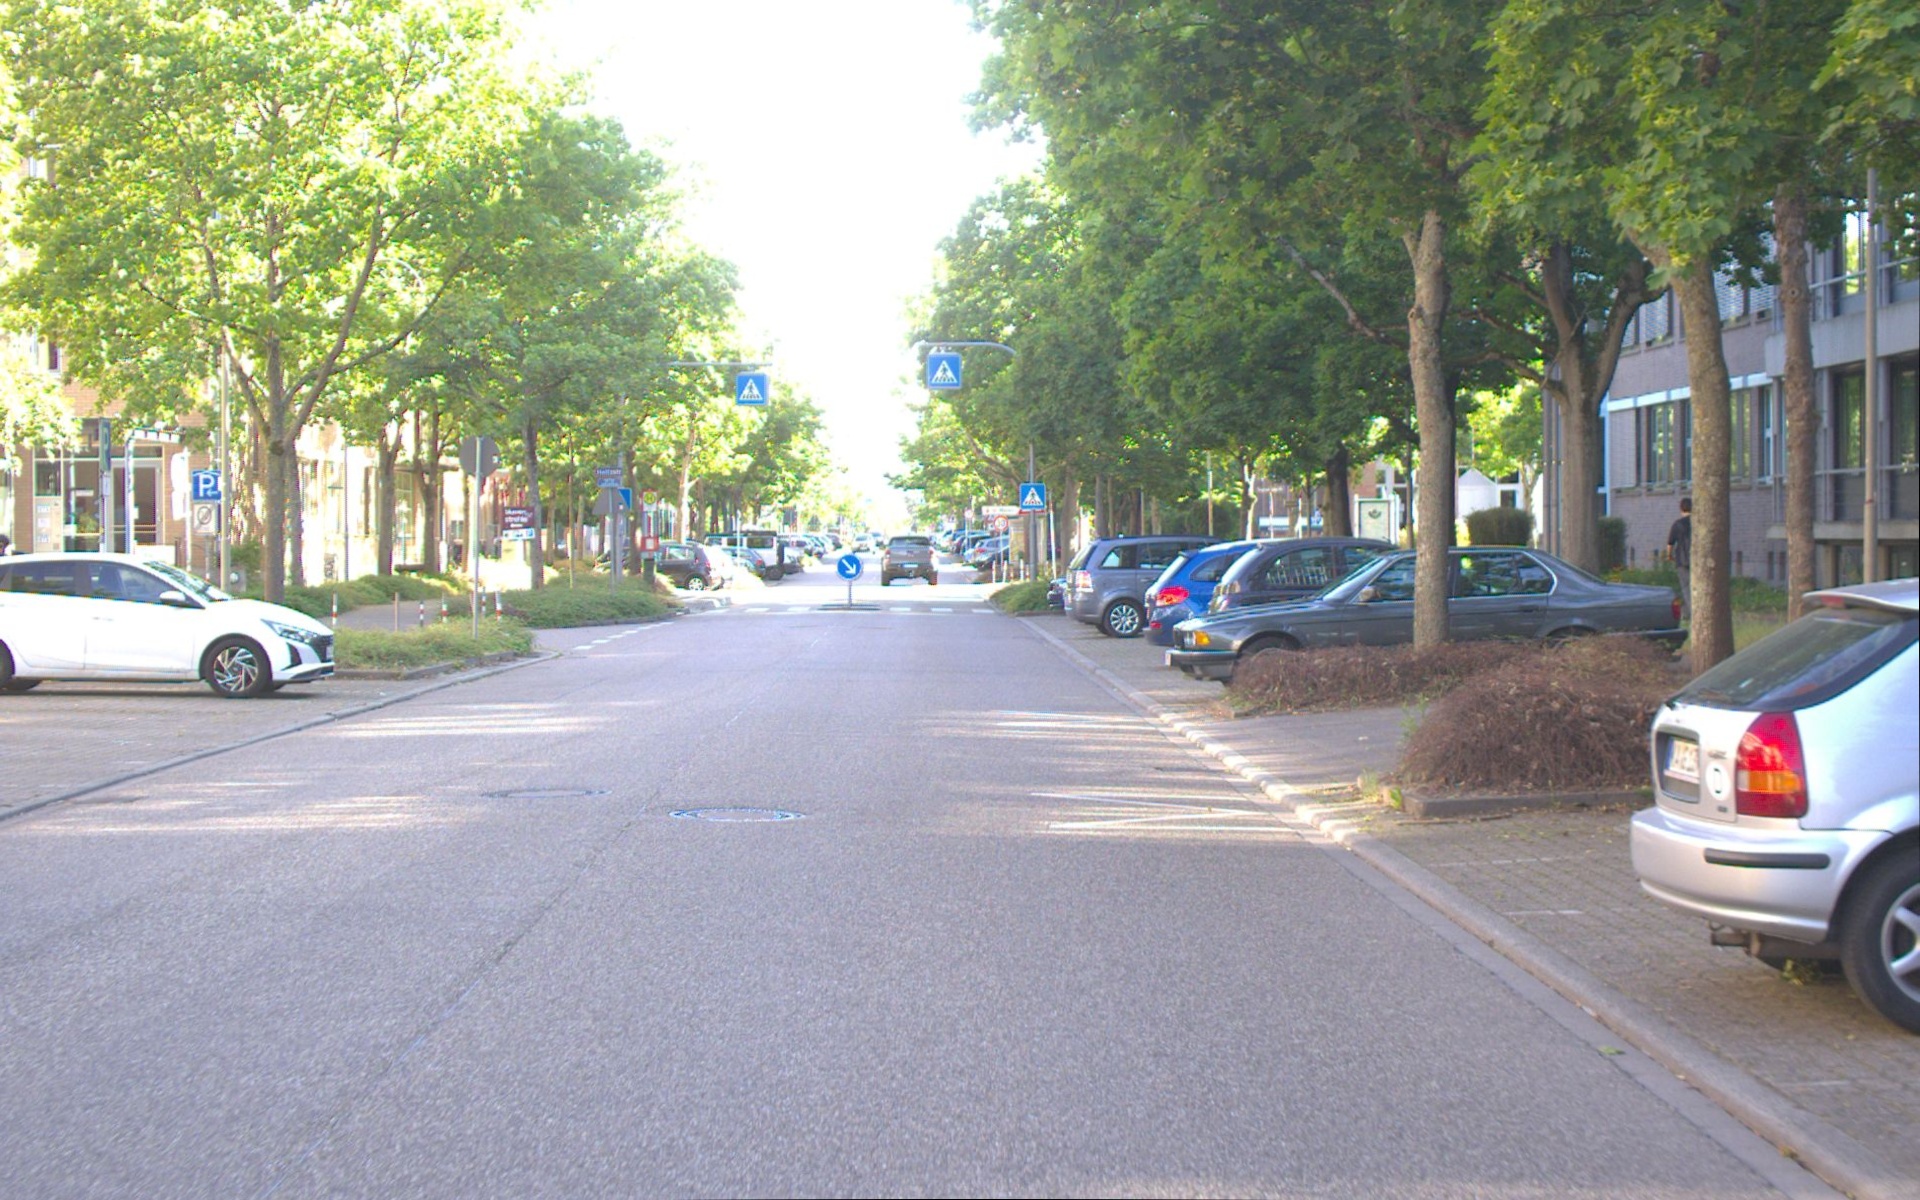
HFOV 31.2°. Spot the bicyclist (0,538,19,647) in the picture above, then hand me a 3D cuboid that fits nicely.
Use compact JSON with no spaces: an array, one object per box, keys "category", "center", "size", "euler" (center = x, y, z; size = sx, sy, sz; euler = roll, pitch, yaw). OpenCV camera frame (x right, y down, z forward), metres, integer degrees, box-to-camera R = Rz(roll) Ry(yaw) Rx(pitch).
[{"category":"bicyclist","center":[-12.169,-0.093,42.784],"size":[0.605,1.348,0.913],"euler":[-1,1,3]}]

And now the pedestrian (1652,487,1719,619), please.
[{"category":"pedestrian","center":[9.734,-0.629,46.146],"size":[0.607,1.739,1.191],"euler":[-1,1,-1]}]

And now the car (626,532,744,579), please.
[{"category":"car","center":[-9.225,-1.492,115.018],"size":[3.848,1.468,1.813],"euler":[1,1,-6]}]

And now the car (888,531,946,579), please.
[{"category":"car","center":[-1.545,-1.606,122.890],"size":[1.993,1.634,4.000],"euler":[1,1,-1]}]

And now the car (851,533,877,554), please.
[{"category":"car","center":[-7.161,-4.186,256.024],"size":[1.813,1.519,4.000],"euler":[-1,1,0]}]

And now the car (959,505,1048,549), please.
[{"category":"car","center":[2.009,-3.370,159.023],"size":[3.986,2.007,2.000],"euler":[-1,1,-2]}]

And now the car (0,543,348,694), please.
[{"category":"car","center":[-8.424,0.173,35.317],"size":[3.986,1.481,1.807],"euler":[0,1,-1]}]

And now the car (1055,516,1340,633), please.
[{"category":"car","center":[3.805,-0.428,55.587],"size":[4.350,1.698,1.813],"euler":[-2,1,-3]}]

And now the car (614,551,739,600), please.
[{"category":"car","center":[-9.103,-0.799,110.186],"size":[3.847,1.468,1.813],"euler":[1,1,-8]}]

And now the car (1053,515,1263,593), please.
[{"category":"car","center":[4.156,-0.979,72.542],"size":[4.190,1.468,1.813],"euler":[-2,1,-3]}]

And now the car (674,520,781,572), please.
[{"category":"car","center":[-9.265,-2.148,137.183],"size":[3.987,2.007,2.000],"euler":[-1,1,4]}]

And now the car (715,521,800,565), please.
[{"category":"car","center":[-9.690,-2.723,164.560],"size":[3.986,2.007,2.000],"euler":[-1,1,-2]}]

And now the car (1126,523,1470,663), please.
[{"category":"car","center":[4.030,-0.102,41.457],"size":[3.949,1.509,1.813],"euler":[-2,1,1]}]

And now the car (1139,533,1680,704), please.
[{"category":"car","center":[4.237,0.155,32.974],"size":[4.824,1.415,2.032],"euler":[-2,1,-2]}]

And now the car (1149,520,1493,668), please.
[{"category":"car","center":[4.046,-0.081,38.915],"size":[3.641,1.509,1.813],"euler":[-2,1,0]}]

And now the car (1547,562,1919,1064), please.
[{"category":"car","center":[4.048,0.565,10.991],"size":[3.969,1.415,1.711],"euler":[-2,1,-2]}]

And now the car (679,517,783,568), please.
[{"category":"car","center":[-9.321,-2.346,140.377],"size":[3.987,2.007,2.000],"euler":[-1,1,4]}]

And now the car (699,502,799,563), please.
[{"category":"car","center":[-8.918,-2.872,145.585],"size":[3.987,2.532,1.862],"euler":[1,1,4]}]
